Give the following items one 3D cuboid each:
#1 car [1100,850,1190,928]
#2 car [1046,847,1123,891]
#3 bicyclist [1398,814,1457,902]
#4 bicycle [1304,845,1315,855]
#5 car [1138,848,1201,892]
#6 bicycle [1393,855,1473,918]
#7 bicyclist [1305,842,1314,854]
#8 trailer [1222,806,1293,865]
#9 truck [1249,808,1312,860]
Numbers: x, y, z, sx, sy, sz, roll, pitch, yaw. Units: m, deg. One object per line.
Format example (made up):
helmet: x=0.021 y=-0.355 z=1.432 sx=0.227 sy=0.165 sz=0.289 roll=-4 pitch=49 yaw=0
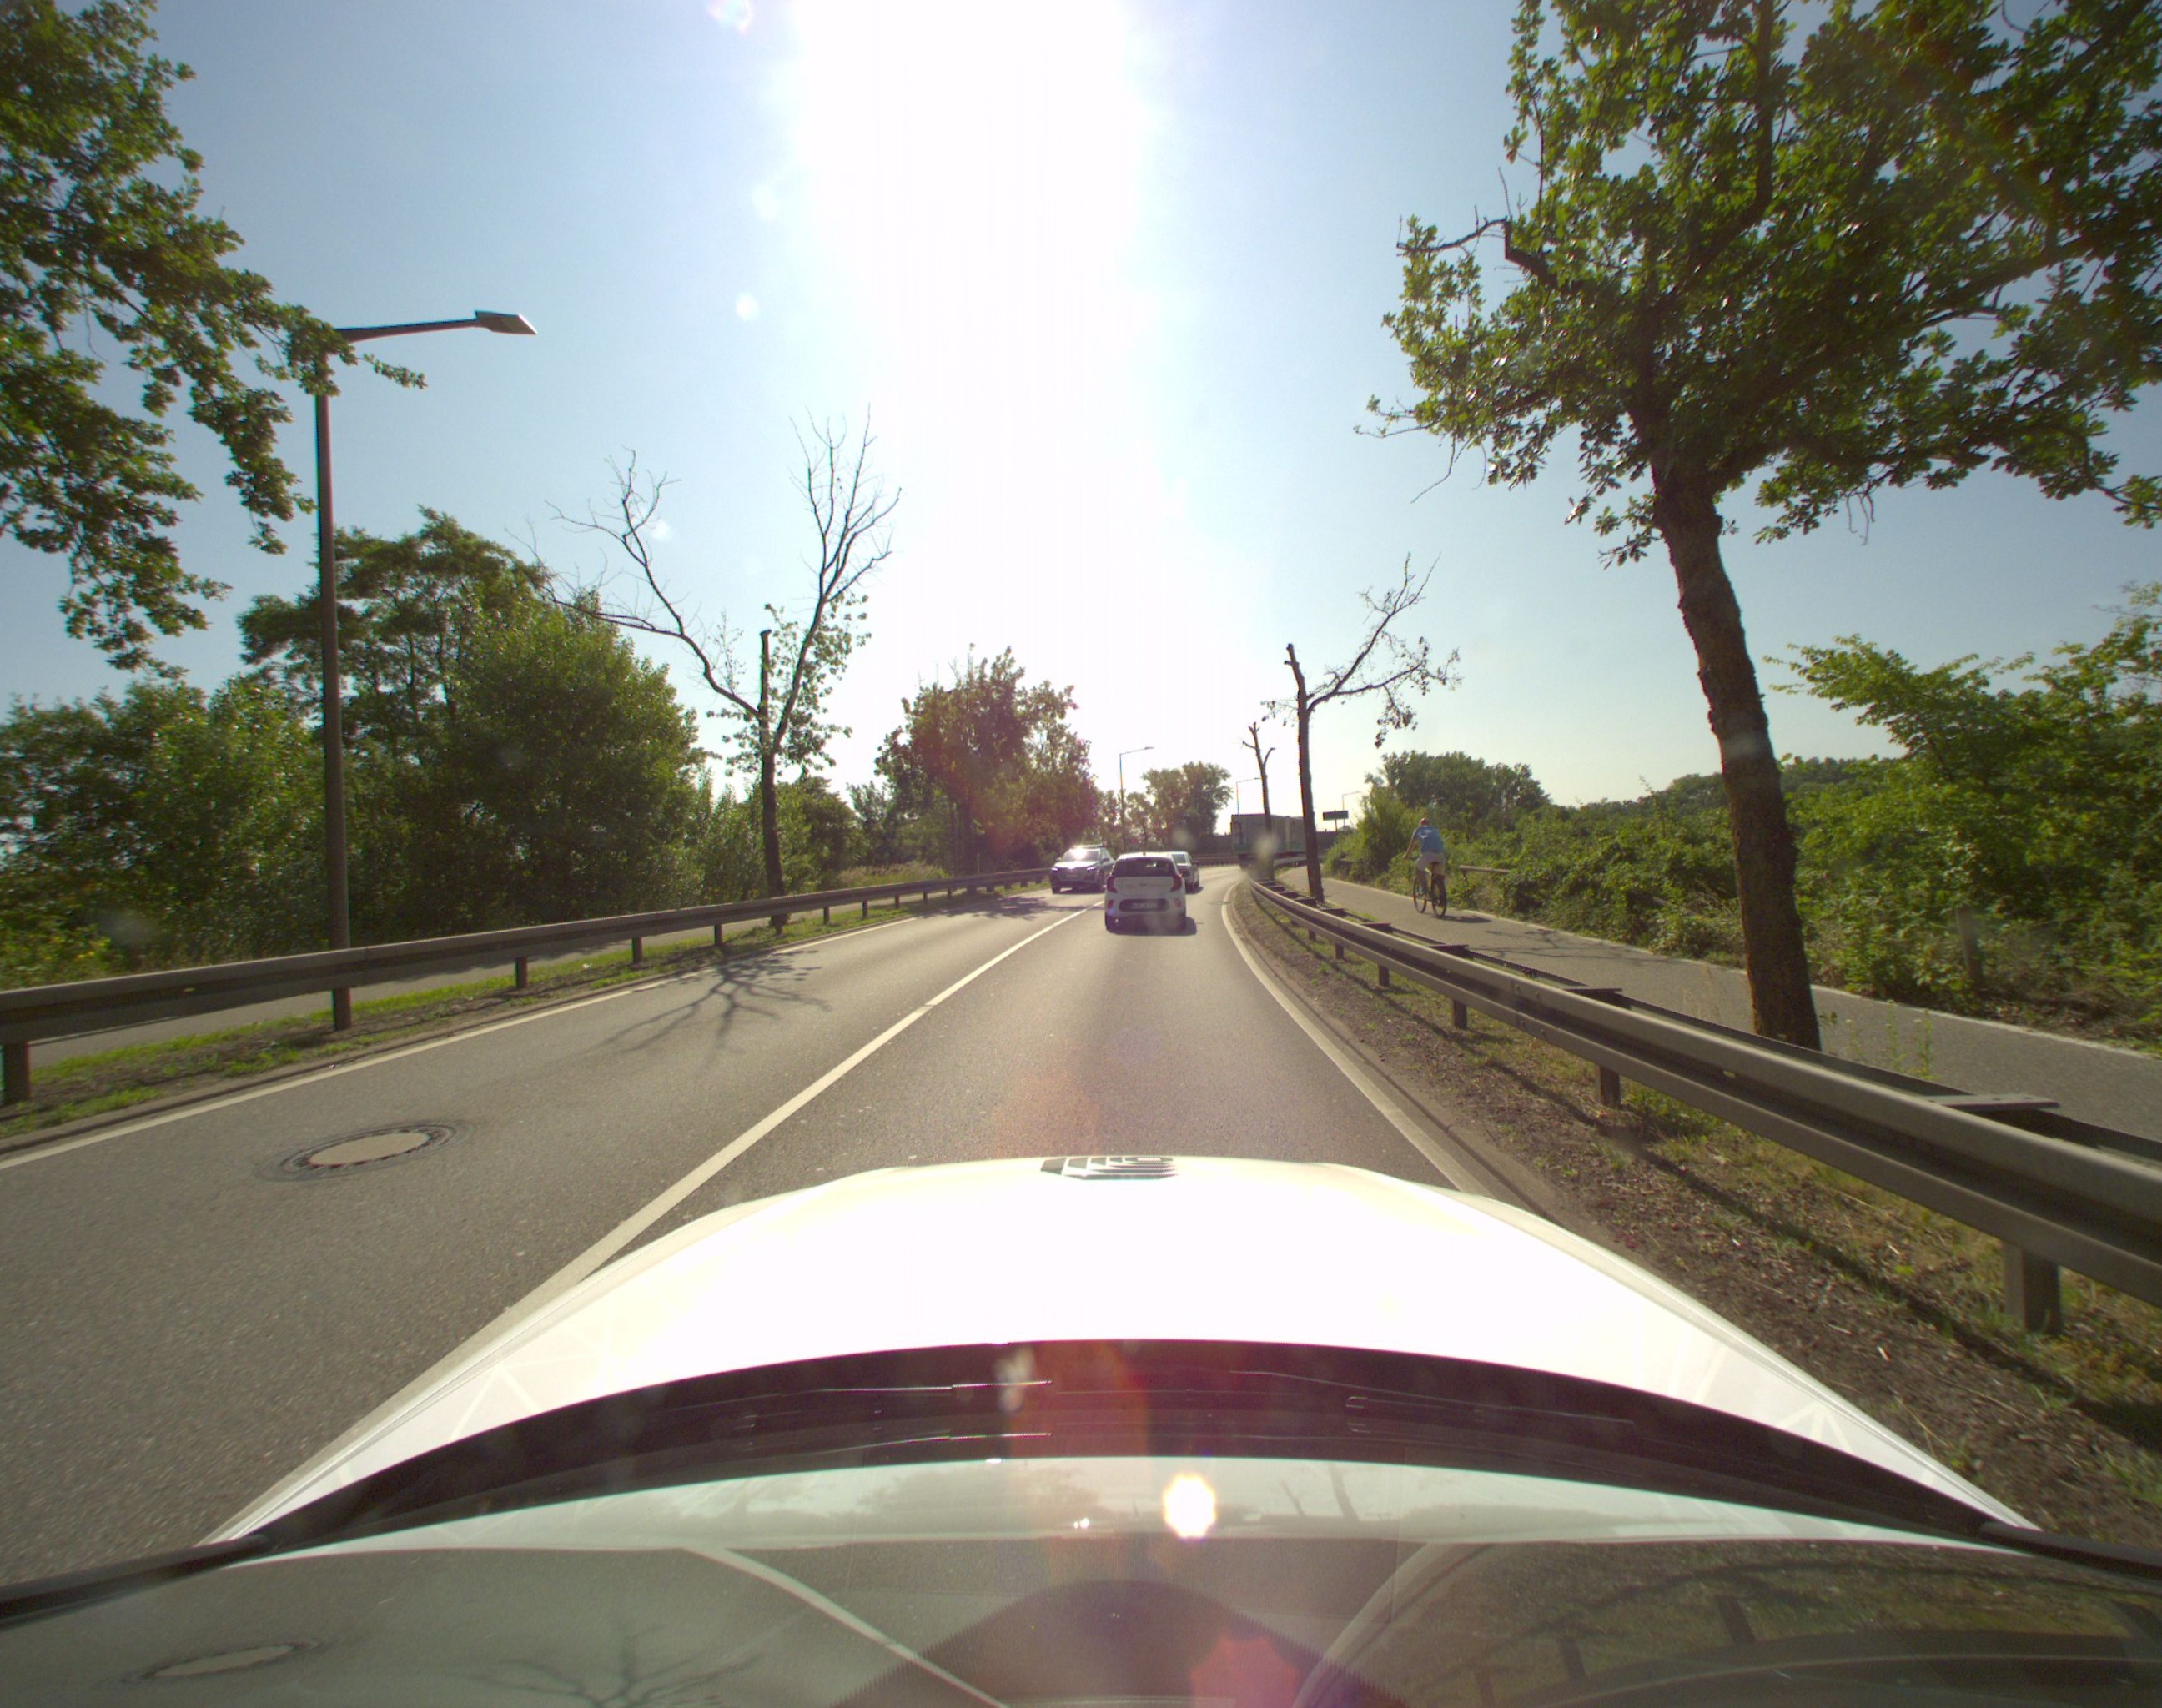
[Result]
car: x=1.471 y=0.659 z=17.520 sx=1.692 sy=1.494 sz=4.008 roll=0 pitch=0 yaw=7
car: x=0.222 y=0.506 z=30.831 sx=1.916 sy=1.533 sz=4.133 roll=-1 pitch=0 yaw=14
bicyclist: x=6.389 y=0.075 z=15.034 sx=0.655 sy=1.520 sz=0.804 roll=-5 pitch=-1 yaw=4
bicycle: x=27.308 y=-0.489 z=97.279 sx=0.606 sy=1.135 sz=2.162 roll=-5 pitch=-3 yaw=30
car: x=3.360 y=0.537 z=30.176 sx=1.927 sy=1.486 sz=4.915 roll=-1 pitch=0 yaw=11
bicycle: x=6.433 y=0.579 z=14.985 sx=0.699 sy=1.020 sz=1.848 roll=-5 pitch=-1 yaw=4
bicyclist: x=27.295 y=-0.733 z=97.285 sx=0.602 sy=1.439 sz=1.085 roll=-4 pitch=-3 yaw=30
trailer: x=12.444 y=-1.322 z=56.707 sx=3.195 sy=3.757 sz=7.870 roll=0 pitch=2 yaw=24
truck: x=15.818 y=-1.608 z=64.046 sx=3.231 sy=3.757 sz=8.420 roll=0 pitch=2 yaw=24
